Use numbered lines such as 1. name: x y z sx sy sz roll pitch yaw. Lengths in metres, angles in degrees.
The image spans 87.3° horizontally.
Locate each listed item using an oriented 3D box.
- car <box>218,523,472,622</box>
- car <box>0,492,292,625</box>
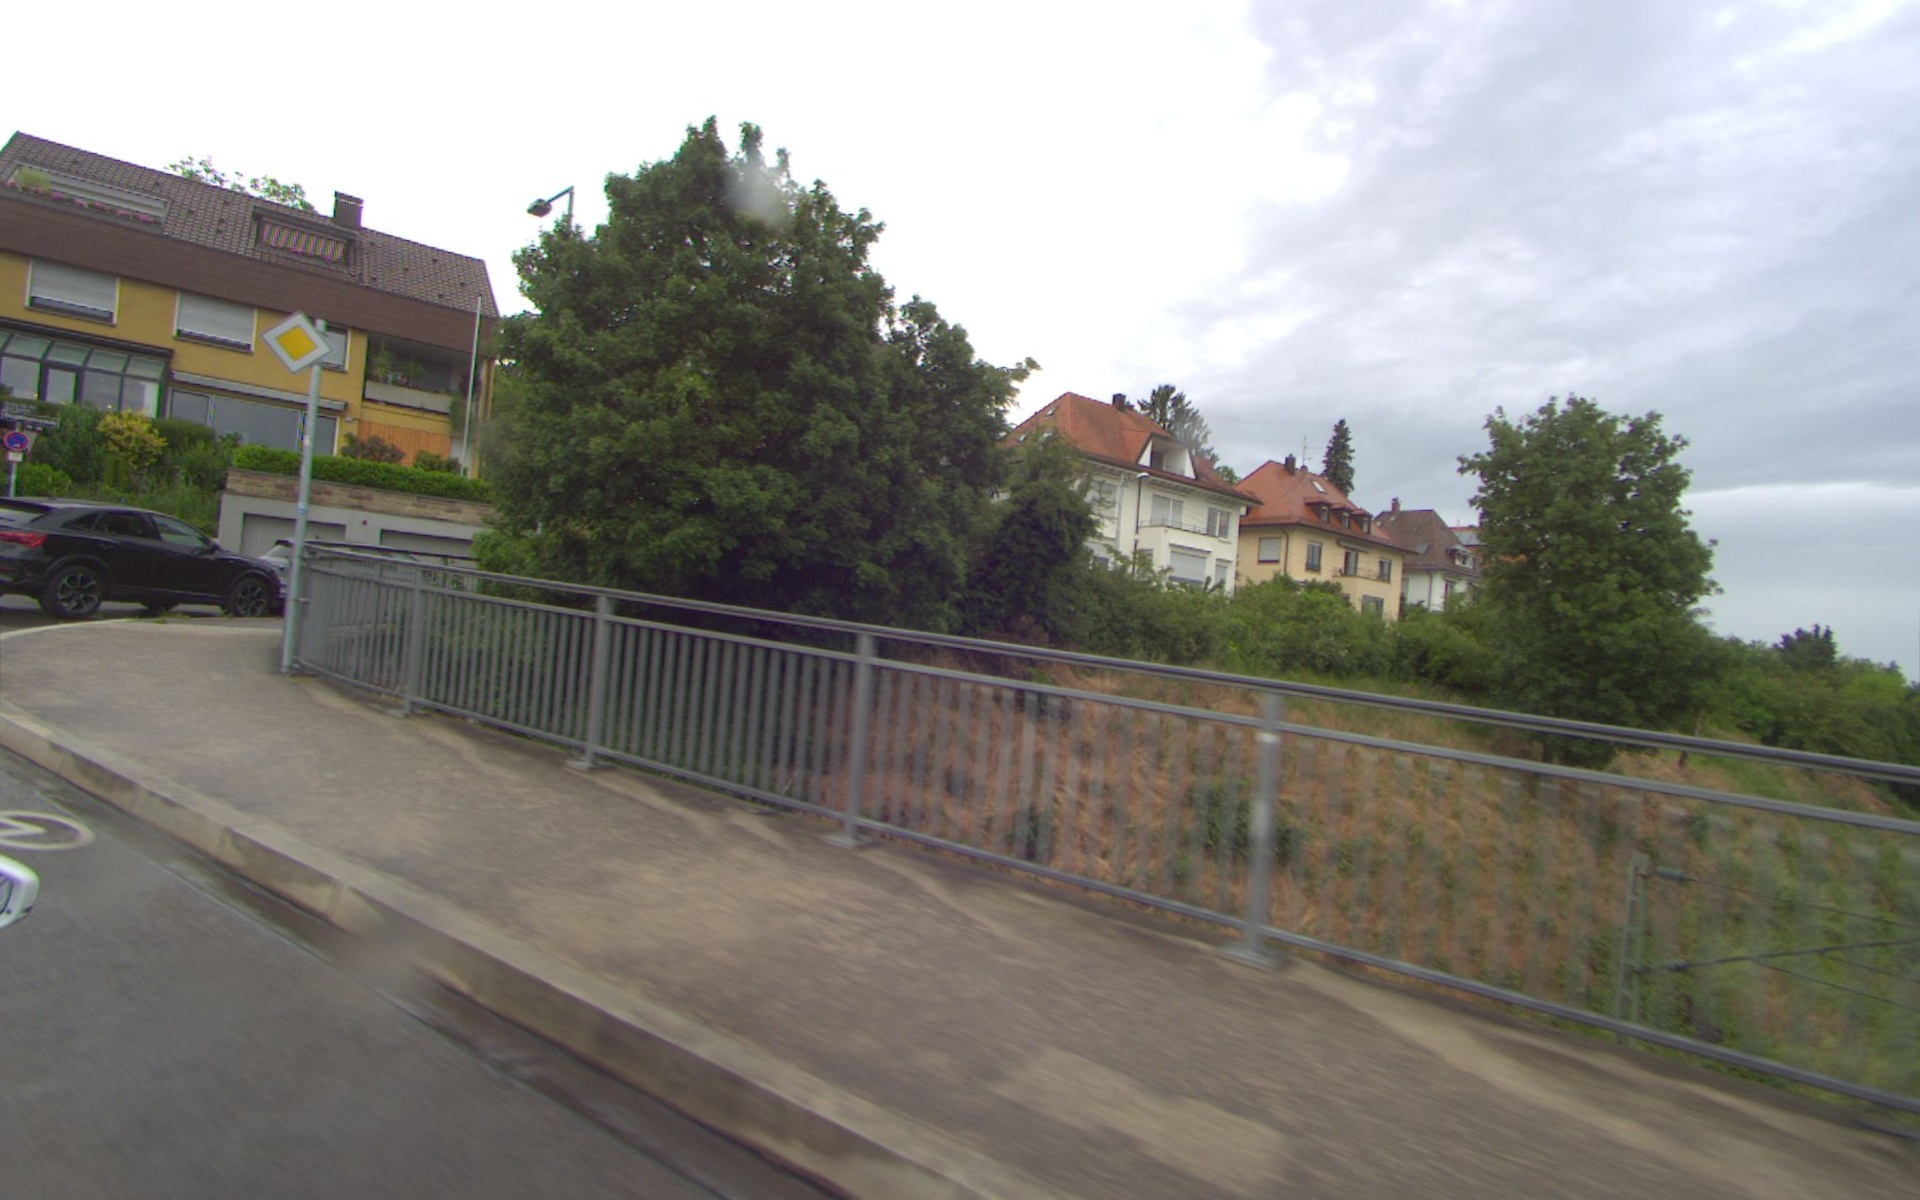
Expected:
1. car: -11.538 -0.435 19.254 1.767 1.442 4.060 6 -1 11
2. car: -12.271 -0.572 14.493 1.962 1.541 4.205 8 -1 9
